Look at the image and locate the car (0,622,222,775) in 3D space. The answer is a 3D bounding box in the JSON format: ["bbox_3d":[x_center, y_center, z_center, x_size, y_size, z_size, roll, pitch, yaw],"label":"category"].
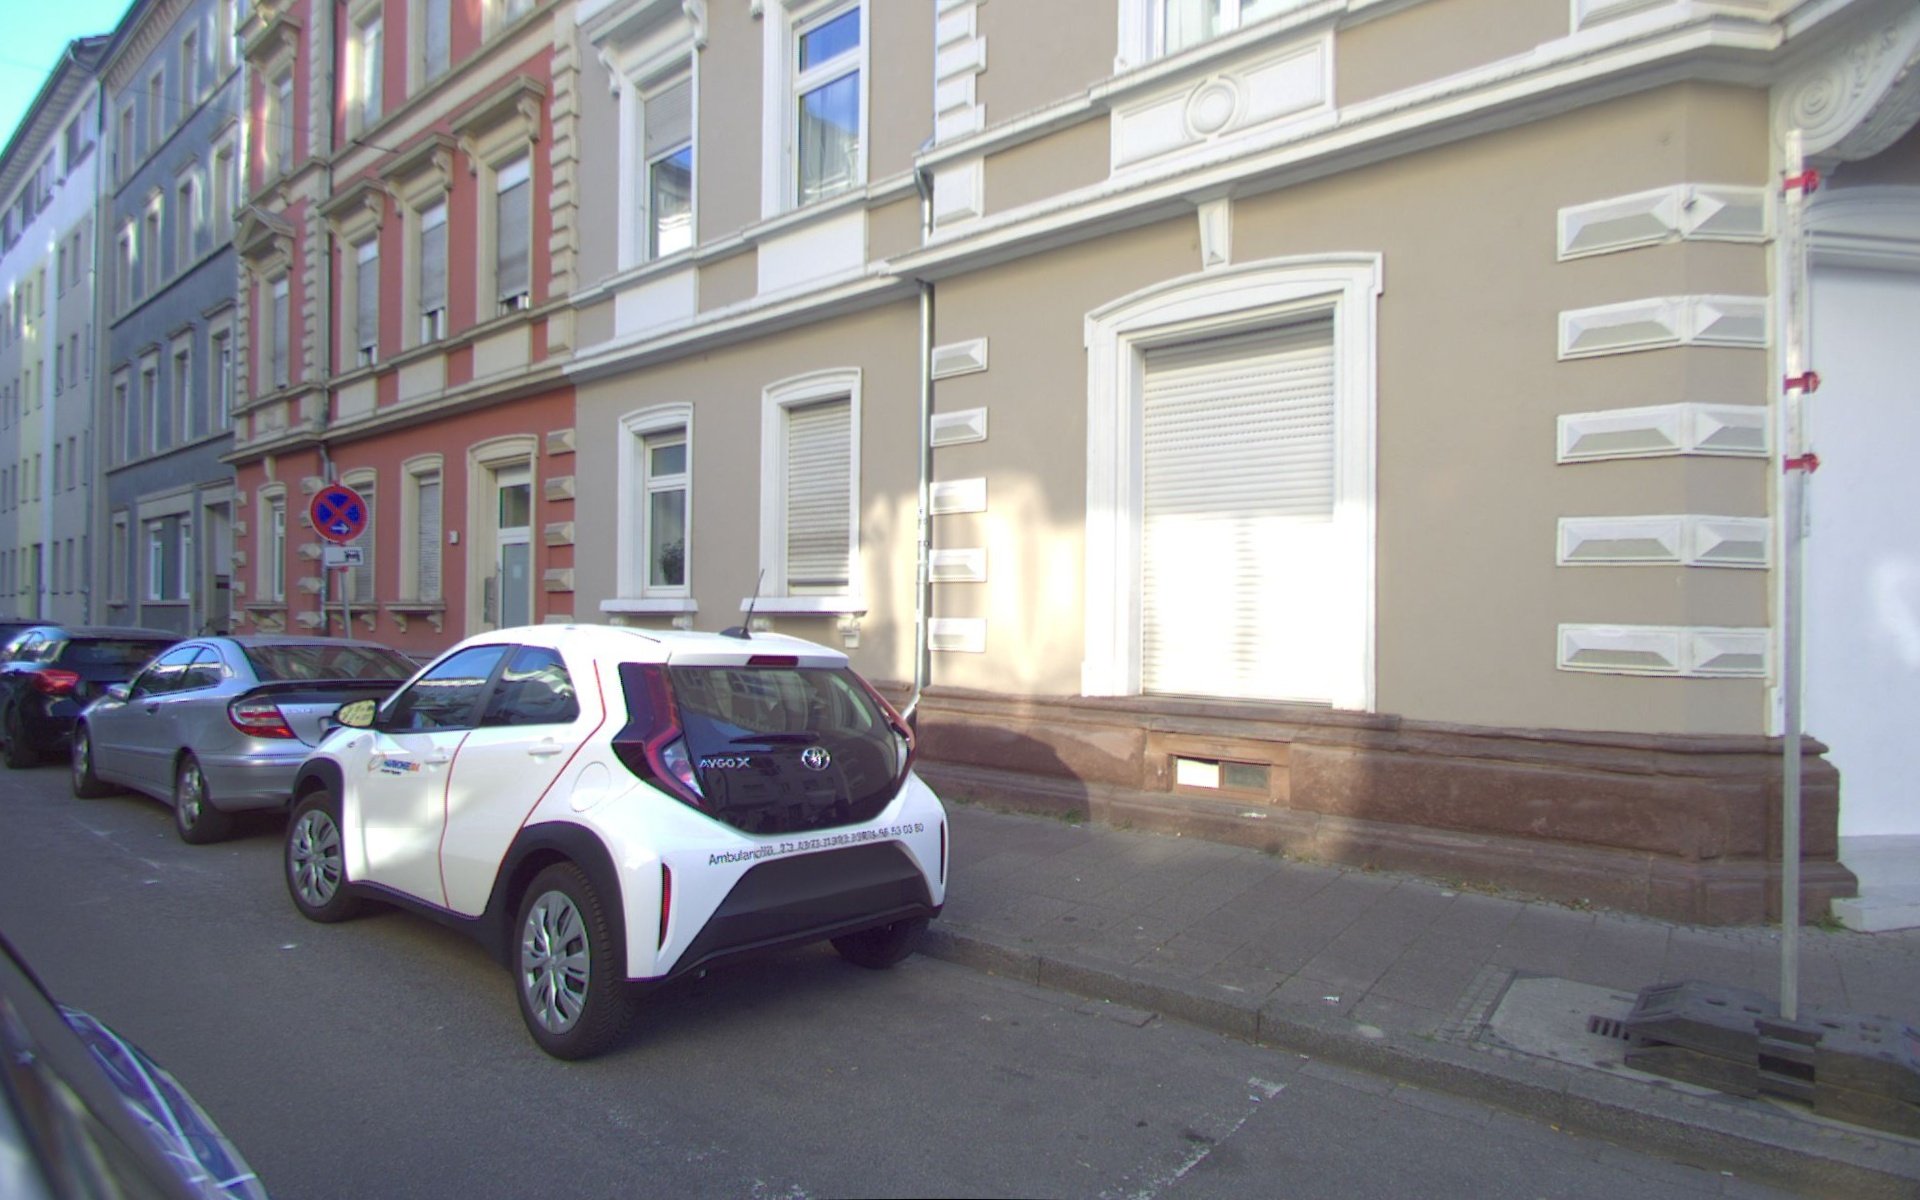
[{"bbox_3d":[-9.893,1.007,11.341,3.907,1.426,1.569,-1,-5,39],"label":"car"}]

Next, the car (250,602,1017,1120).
[{"bbox_3d":[-1.782,0.830,4.871,3.841,1.507,1.667,0,-5,40],"label":"car"}]

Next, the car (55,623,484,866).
[{"bbox_3d":[-5.601,0.956,8.046,3.956,1.439,1.594,0,-4,37],"label":"car"}]

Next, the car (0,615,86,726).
[{"bbox_3d":[-14.678,0.971,15.163,4.189,1.510,1.519,0,-3,37],"label":"car"}]

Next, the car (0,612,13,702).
[{"bbox_3d":[-18.613,0.984,18.256,4.424,1.534,1.578,0,-1,38],"label":"car"}]
